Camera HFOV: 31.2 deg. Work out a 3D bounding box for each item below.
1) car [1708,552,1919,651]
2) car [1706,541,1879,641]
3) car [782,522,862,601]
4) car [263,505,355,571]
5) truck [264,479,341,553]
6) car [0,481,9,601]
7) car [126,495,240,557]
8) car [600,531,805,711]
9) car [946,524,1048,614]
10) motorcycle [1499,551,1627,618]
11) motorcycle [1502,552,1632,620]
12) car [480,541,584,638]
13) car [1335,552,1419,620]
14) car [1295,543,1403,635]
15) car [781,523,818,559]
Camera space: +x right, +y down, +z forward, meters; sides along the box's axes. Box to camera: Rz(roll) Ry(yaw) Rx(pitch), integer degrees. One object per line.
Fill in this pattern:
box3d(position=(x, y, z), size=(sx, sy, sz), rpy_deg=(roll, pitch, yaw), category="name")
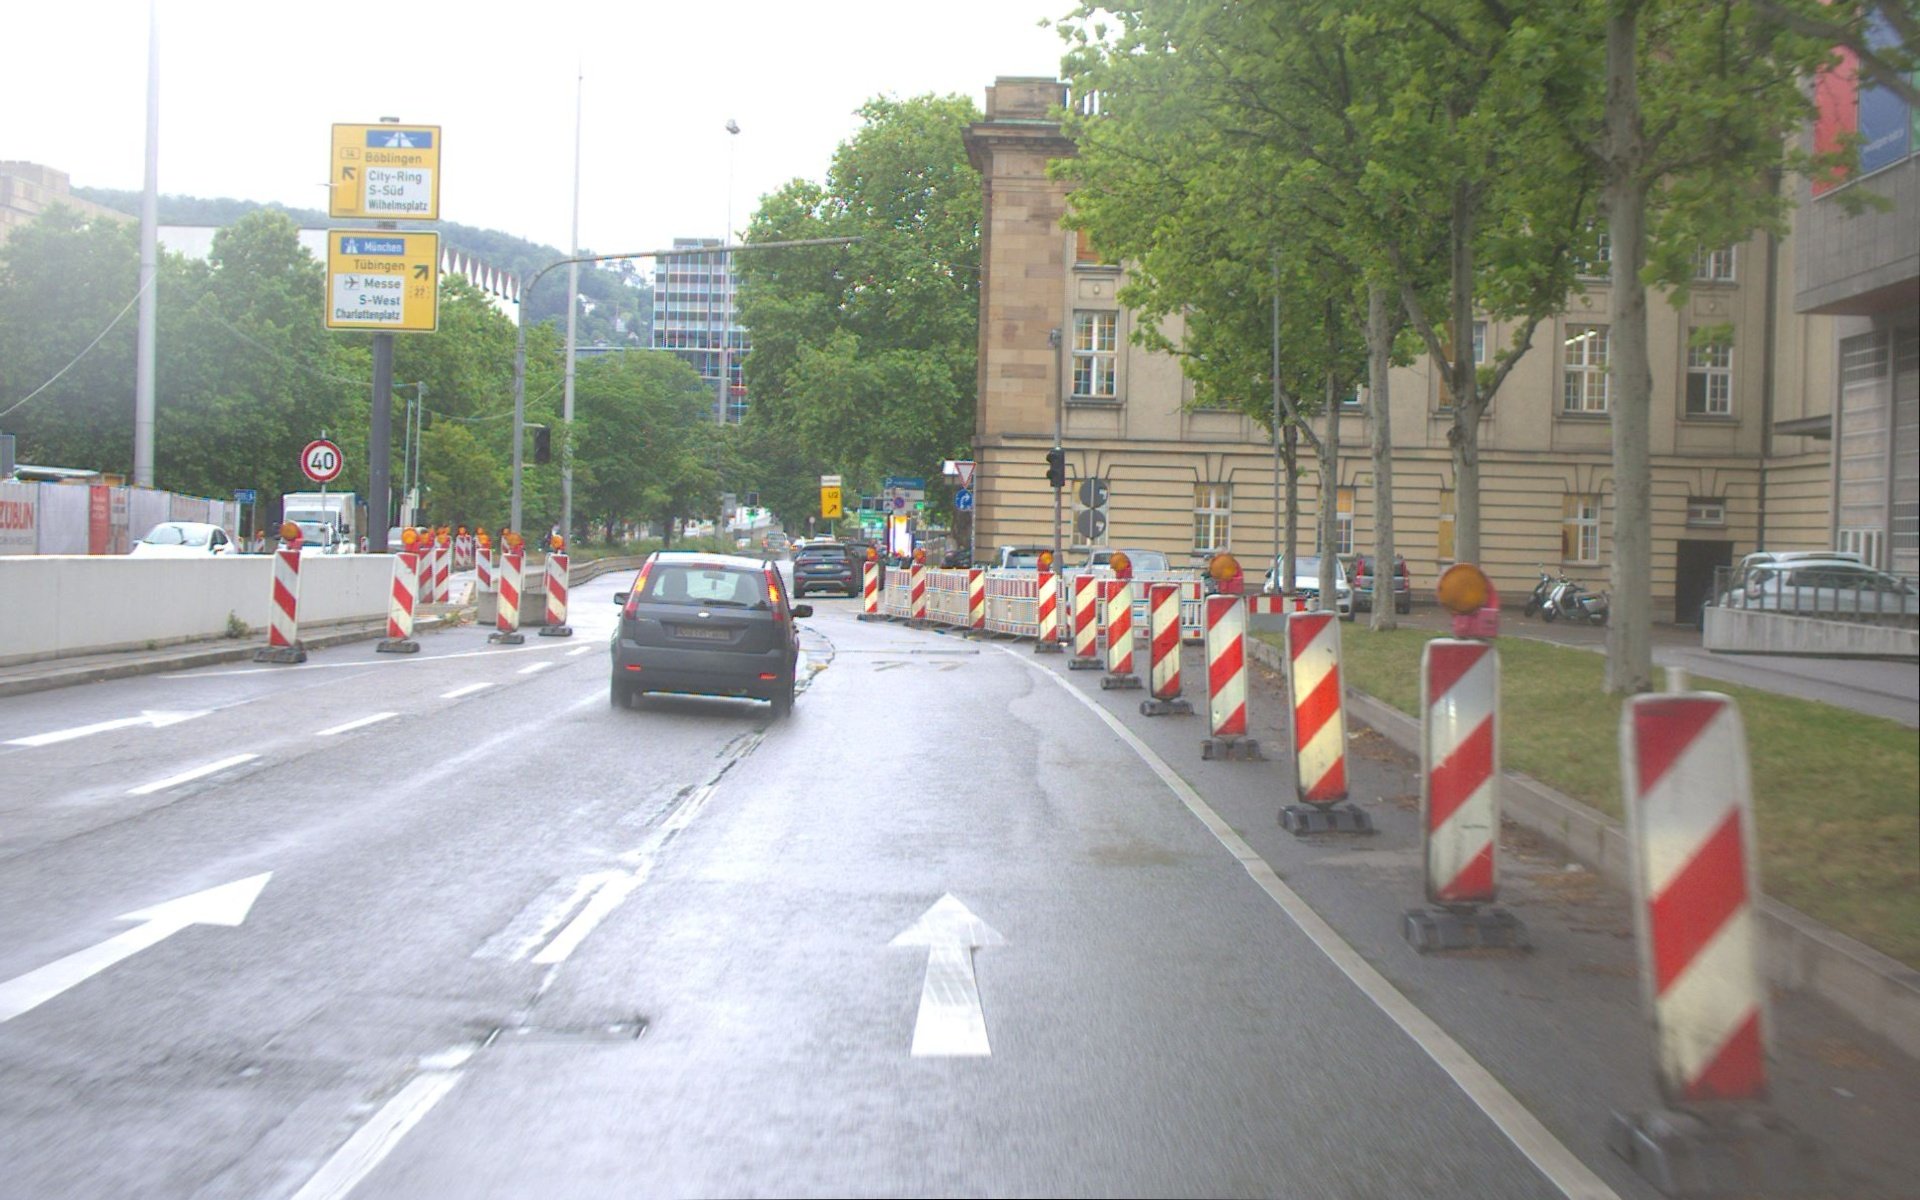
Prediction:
box3d(position=(14.566, 0.046, 56.815), size=(3.987, 1.554, 1.933), rpy_deg=(1, -2, 1), category="car")
box3d(position=(15.616, -0.142, 64.755), size=(1.993, 1.754, 5.096), rpy_deg=(2, 0, 0), category="car")
box3d(position=(-3.840, -1.096, 95.983), size=(1.993, 2.006, 4.000), rpy_deg=(3, 2, 0), category="car")
box3d(position=(-17.143, -1.621, 90.709), size=(1.668, 1.517, 4.000), rpy_deg=(4, -1, -1), category="car")
box3d(position=(-23.326, -2.939, 122.093), size=(2.412, 2.331, 5.446), rpy_deg=(4, -1, -10), category="truck")
box3d(position=(-16.972, -1.017, 55.629), size=(1.993, 2.007, 4.000), rpy_deg=(4, 1, -1), category="car")
box3d(position=(-16.454, -1.562, 72.929), size=(1.626, 1.191, 3.405), rpy_deg=(4, 1, -1), category="car")
box3d(position=(-2.416, 0.152, 32.054), size=(1.670, 1.422, 3.758), rpy_deg=(5, 1, -5), category="car")
box3d(position=(0.757, -0.671, 72.457), size=(1.993, 1.702, 4.000), rpy_deg=(3, 2, 0), category="car")
box3d(position=(15.890, -0.394, 90.682), size=(3.162, 1.538, 0.889), rpy_deg=(4, -1, 5), category="motorcycle")
box3d(position=(15.818, -0.369, 89.656), size=(3.162, 1.538, 0.889), rpy_deg=(4, -1, 3), category="motorcycle")
box3d(position=(-6.424, -0.170, 51.789), size=(1.385, 1.382, 3.068), rpy_deg=(1, 0, -4), category="car")
box3d(position=(11.262, -0.355, 92.993), size=(1.994, 1.703, 3.999), rpy_deg=(3, 0, 4), category="car")
box3d(position=(8.027, -0.252, 71.298), size=(1.994, 1.702, 4.000), rpy_deg=(3, 2, 4), category="car")
box3d(position=(-9.962, -3.630, 213.222), size=(1.993, 2.007, 4.001), rpy_deg=(4, -1, -5), category="car")
